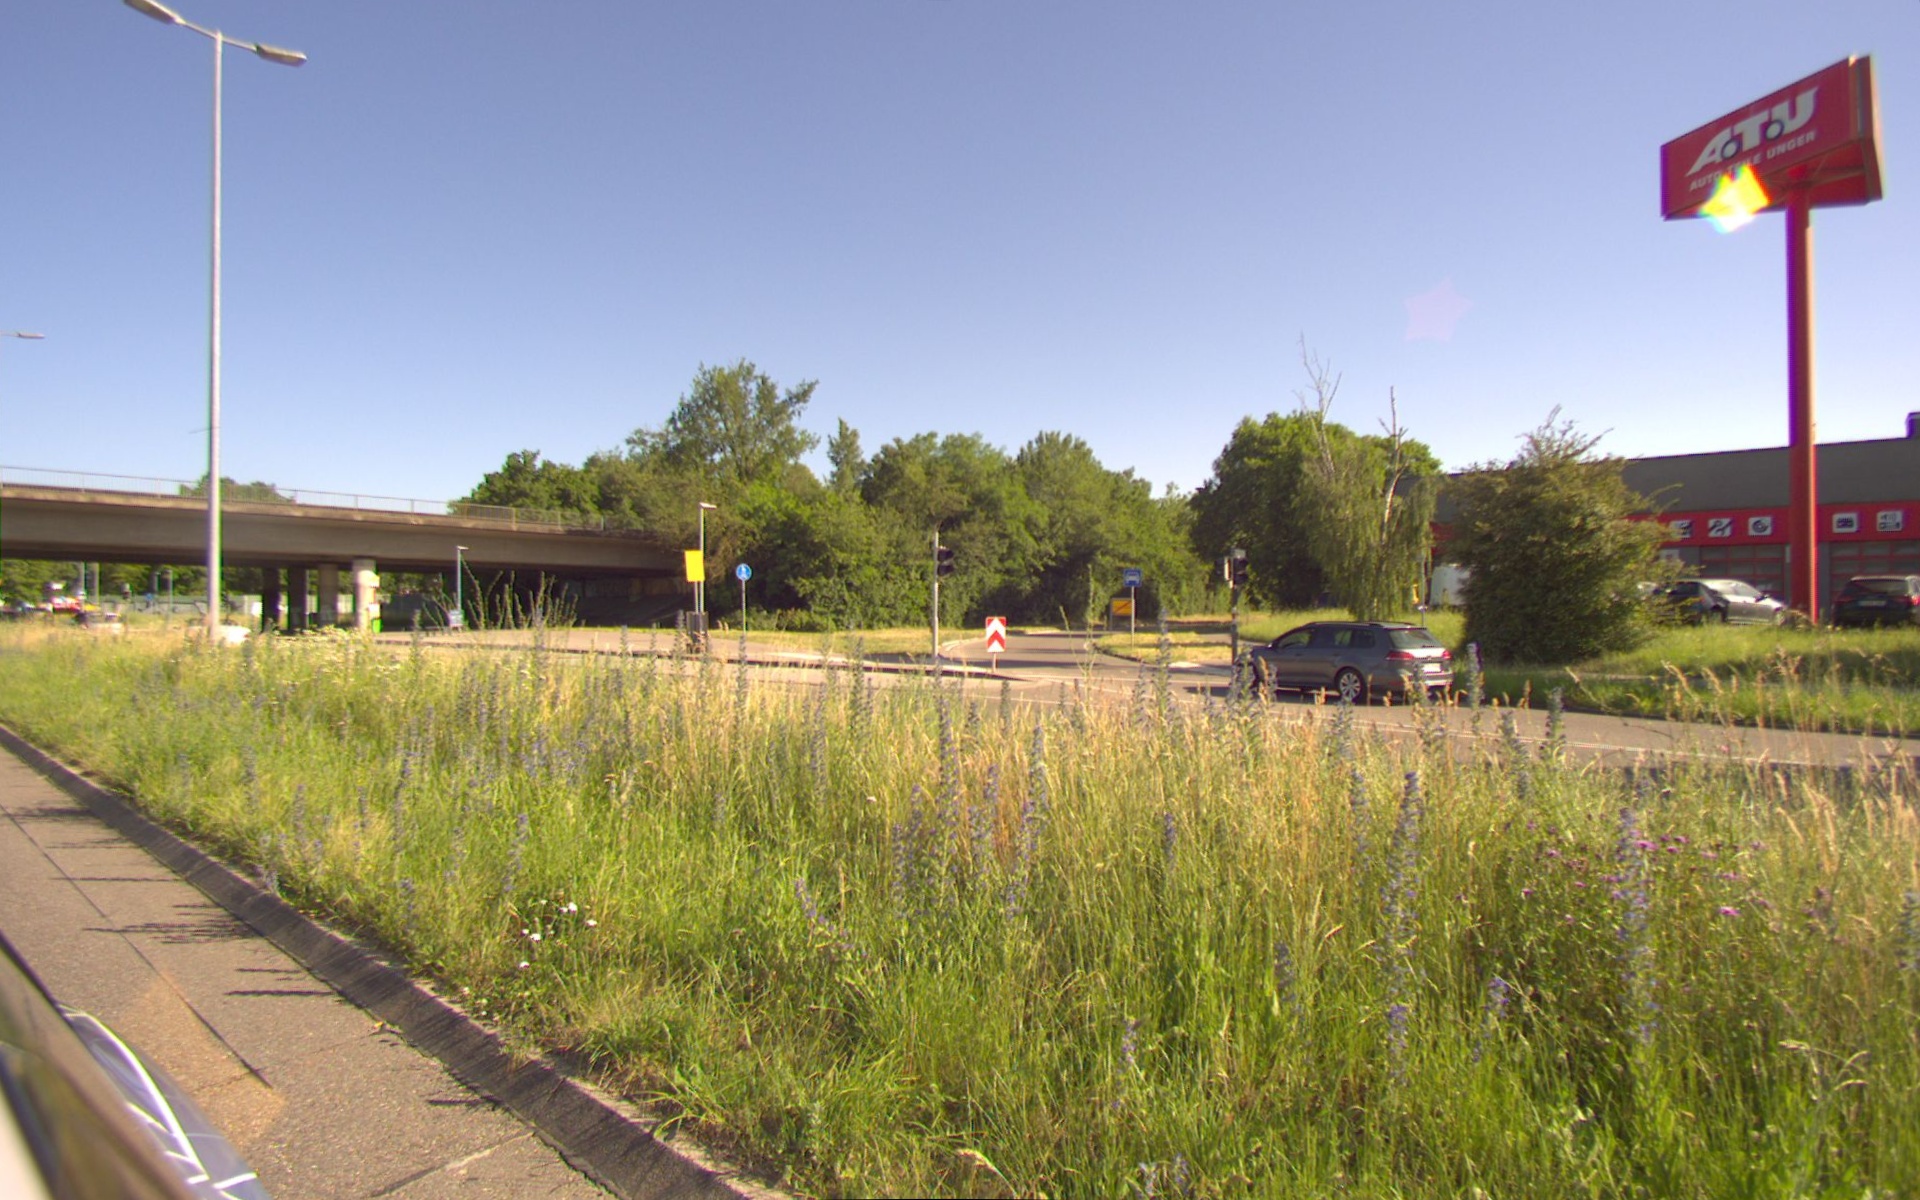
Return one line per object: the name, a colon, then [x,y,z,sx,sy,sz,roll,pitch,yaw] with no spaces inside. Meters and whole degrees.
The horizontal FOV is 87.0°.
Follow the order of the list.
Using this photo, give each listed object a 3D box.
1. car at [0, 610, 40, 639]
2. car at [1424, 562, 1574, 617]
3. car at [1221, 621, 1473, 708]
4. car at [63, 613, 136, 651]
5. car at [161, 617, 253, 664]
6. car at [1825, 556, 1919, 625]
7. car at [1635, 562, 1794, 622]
car: [-52.908,1.353,56.581,3.587,1.541,1.617,-1,-1,38]
car: [21.846,-0.391,41.181,4.990,2.168,1.890,0,-1,10]
car: [7.202,1.143,19.310,1.755,1.436,4.395,2,-2,-29]
car: [-36.905,1.331,43.377,3.586,1.541,1.618,-1,-1,36]
car: [-24.959,1.297,33.503,4.102,1.455,1.615,-1,-1,41]
car: [23.005,-0.200,24.755,4.063,1.563,1.900,1,-1,-36]
car: [20.912,-0.182,28.055,4.060,1.563,1.902,0,-1,-27]
